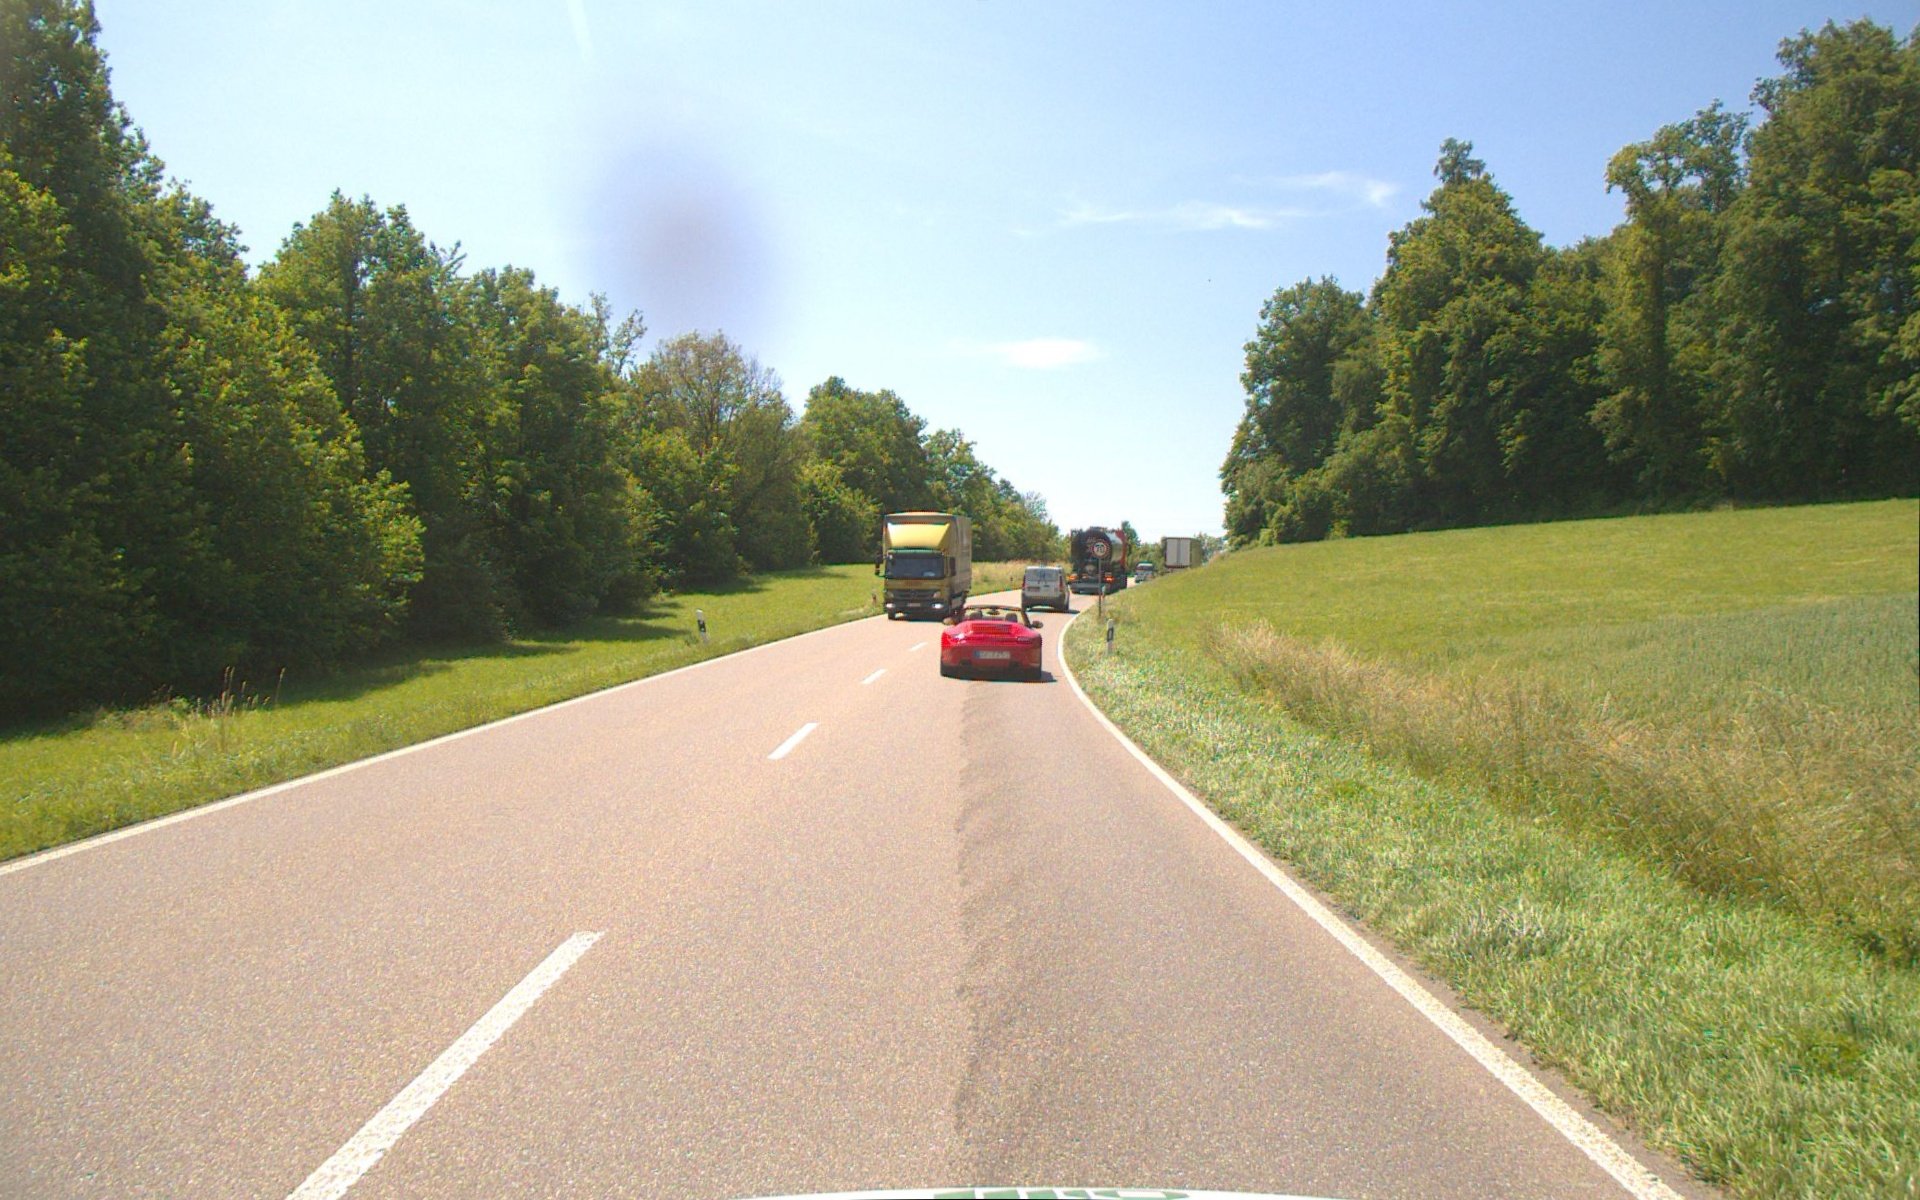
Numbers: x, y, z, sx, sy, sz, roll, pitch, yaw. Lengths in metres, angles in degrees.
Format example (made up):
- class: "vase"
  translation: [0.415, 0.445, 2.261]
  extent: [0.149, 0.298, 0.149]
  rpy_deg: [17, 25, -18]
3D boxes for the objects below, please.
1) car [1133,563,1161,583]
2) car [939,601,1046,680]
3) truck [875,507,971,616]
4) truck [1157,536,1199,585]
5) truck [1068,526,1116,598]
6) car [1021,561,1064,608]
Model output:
- class: "car"
  translation: [15.393, -2.224, 136.030]
  extent: [1.792, 1.540, 4.195]
  rpy_deg: [0, 1, 13]
- class: "car"
  translation: [0.551, 0.708, 30.638]
  extent: [1.844, 1.277, 4.009]
  rpy_deg: [1, 1, 0]
- class: "truck"
  translation: [-1.263, -1.372, 61.787]
  extent: [2.673, 3.755, 8.551]
  rpy_deg: [1, 0, 4]
- class: "truck"
  translation: [22.275, -4.036, 168.145]
  extent: [3.645, 4.741, 12.043]
  rpy_deg: [0, 1, 10]
- class: "truck"
  translation: [8.284, -2.346, 102.632]
  extent: [2.353, 4.120, 12.561]
  rpy_deg: [-1, 1, 7]
- class: "car"
  translation: [3.633, -0.697, 72.337]
  extent: [1.643, 1.933, 4.013]
  rpy_deg: [1, 2, 7]
